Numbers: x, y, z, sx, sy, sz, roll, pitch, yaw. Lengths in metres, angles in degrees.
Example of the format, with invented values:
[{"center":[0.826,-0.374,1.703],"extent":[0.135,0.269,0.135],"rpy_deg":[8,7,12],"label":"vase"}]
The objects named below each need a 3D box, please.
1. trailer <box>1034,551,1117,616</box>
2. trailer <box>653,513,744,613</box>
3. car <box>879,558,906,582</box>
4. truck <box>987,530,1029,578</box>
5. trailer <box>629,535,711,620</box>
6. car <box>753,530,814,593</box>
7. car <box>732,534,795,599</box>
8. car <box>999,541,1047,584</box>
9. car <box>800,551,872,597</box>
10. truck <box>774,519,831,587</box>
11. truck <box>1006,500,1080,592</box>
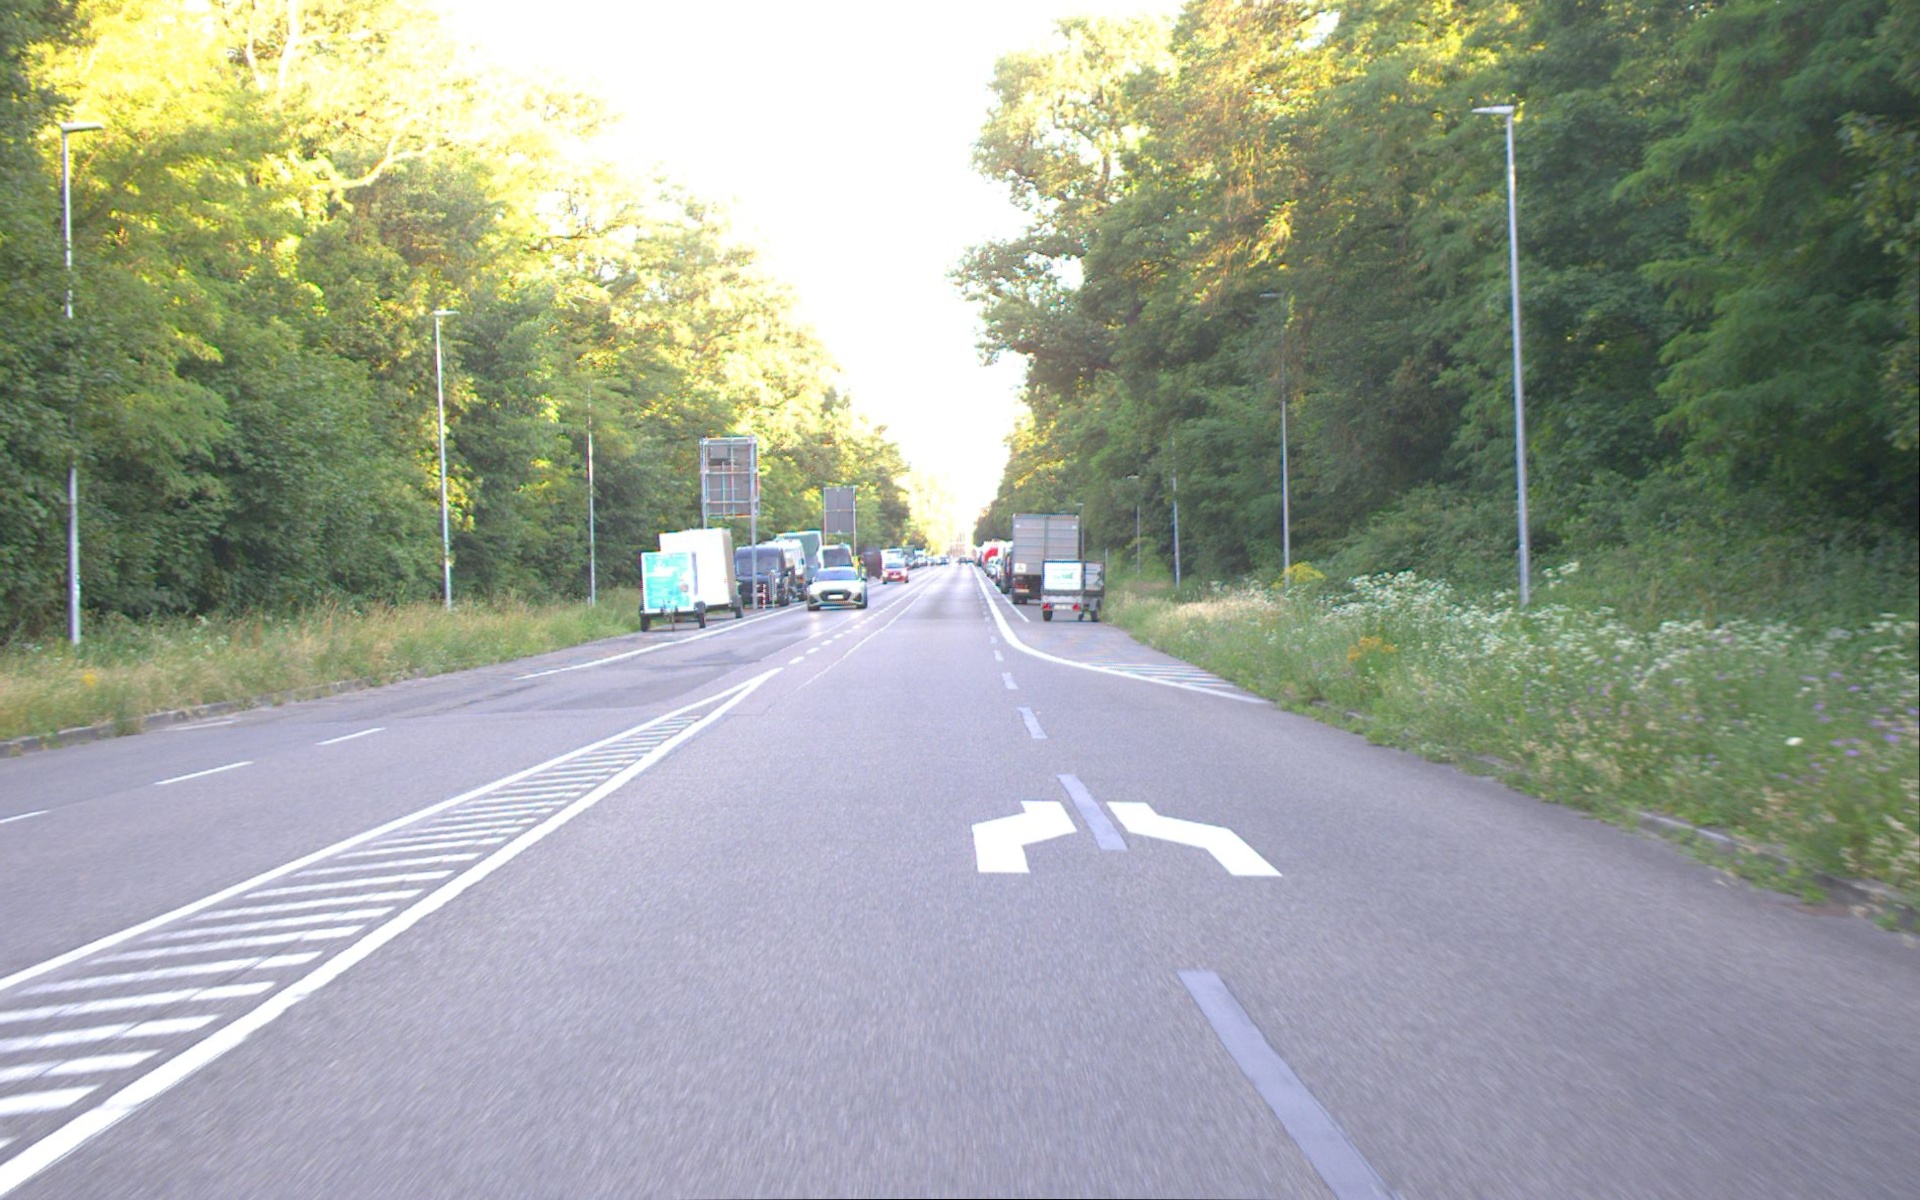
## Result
[{"center":[3.120,-0.460,92.308],"extent":[1.457,1.656,3.775],"rpy_deg":[-2,1,13],"label":"trailer"},{"center":[-8.176,-1.171,108.026],"extent":[2.326,2.914,5.627],"rpy_deg":[-4,1,-1],"label":"trailer"},{"center":[-4.452,-1.955,226.135],"extent":[1.682,1.481,4.038],"rpy_deg":[-2,1,-2],"label":"car"},{"center":[2.635,-2.538,190.110],"extent":[2.141,2.650,4.300],"rpy_deg":[0,1,-2],"label":"truck"},{"center":[-7.775,-0.619,92.419],"extent":[1.817,2.160,4.143],"rpy_deg":[-2,1,-1],"label":"trailer"},{"center":[-7.719,-1.704,150.886],"extent":[2.249,2.638,5.721],"rpy_deg":[-2,1,0],"label":"car"},{"center":[-7.644,-1.338,134.359],"extent":[1.993,2.356,5.766],"rpy_deg":[-4,1,0],"label":"car"},{"center":[2.874,-1.740,158.418],"extent":[1.993,1.948,4.300],"rpy_deg":[0,1,-2],"label":"car"},{"center":[-4.256,-0.920,118.348],"extent":[2.064,1.430,4.465],"rpy_deg":[-3,1,3],"label":"car"},{"center":[-8.053,-2.421,176.459],"extent":[2.504,3.317,6.842],"rpy_deg":[-2,1,0],"label":"truck"},{"center":[3.006,-1.939,124.503],"extent":[2.589,3.244,7.220],"rpy_deg":[0,1,2],"label":"truck"}]
